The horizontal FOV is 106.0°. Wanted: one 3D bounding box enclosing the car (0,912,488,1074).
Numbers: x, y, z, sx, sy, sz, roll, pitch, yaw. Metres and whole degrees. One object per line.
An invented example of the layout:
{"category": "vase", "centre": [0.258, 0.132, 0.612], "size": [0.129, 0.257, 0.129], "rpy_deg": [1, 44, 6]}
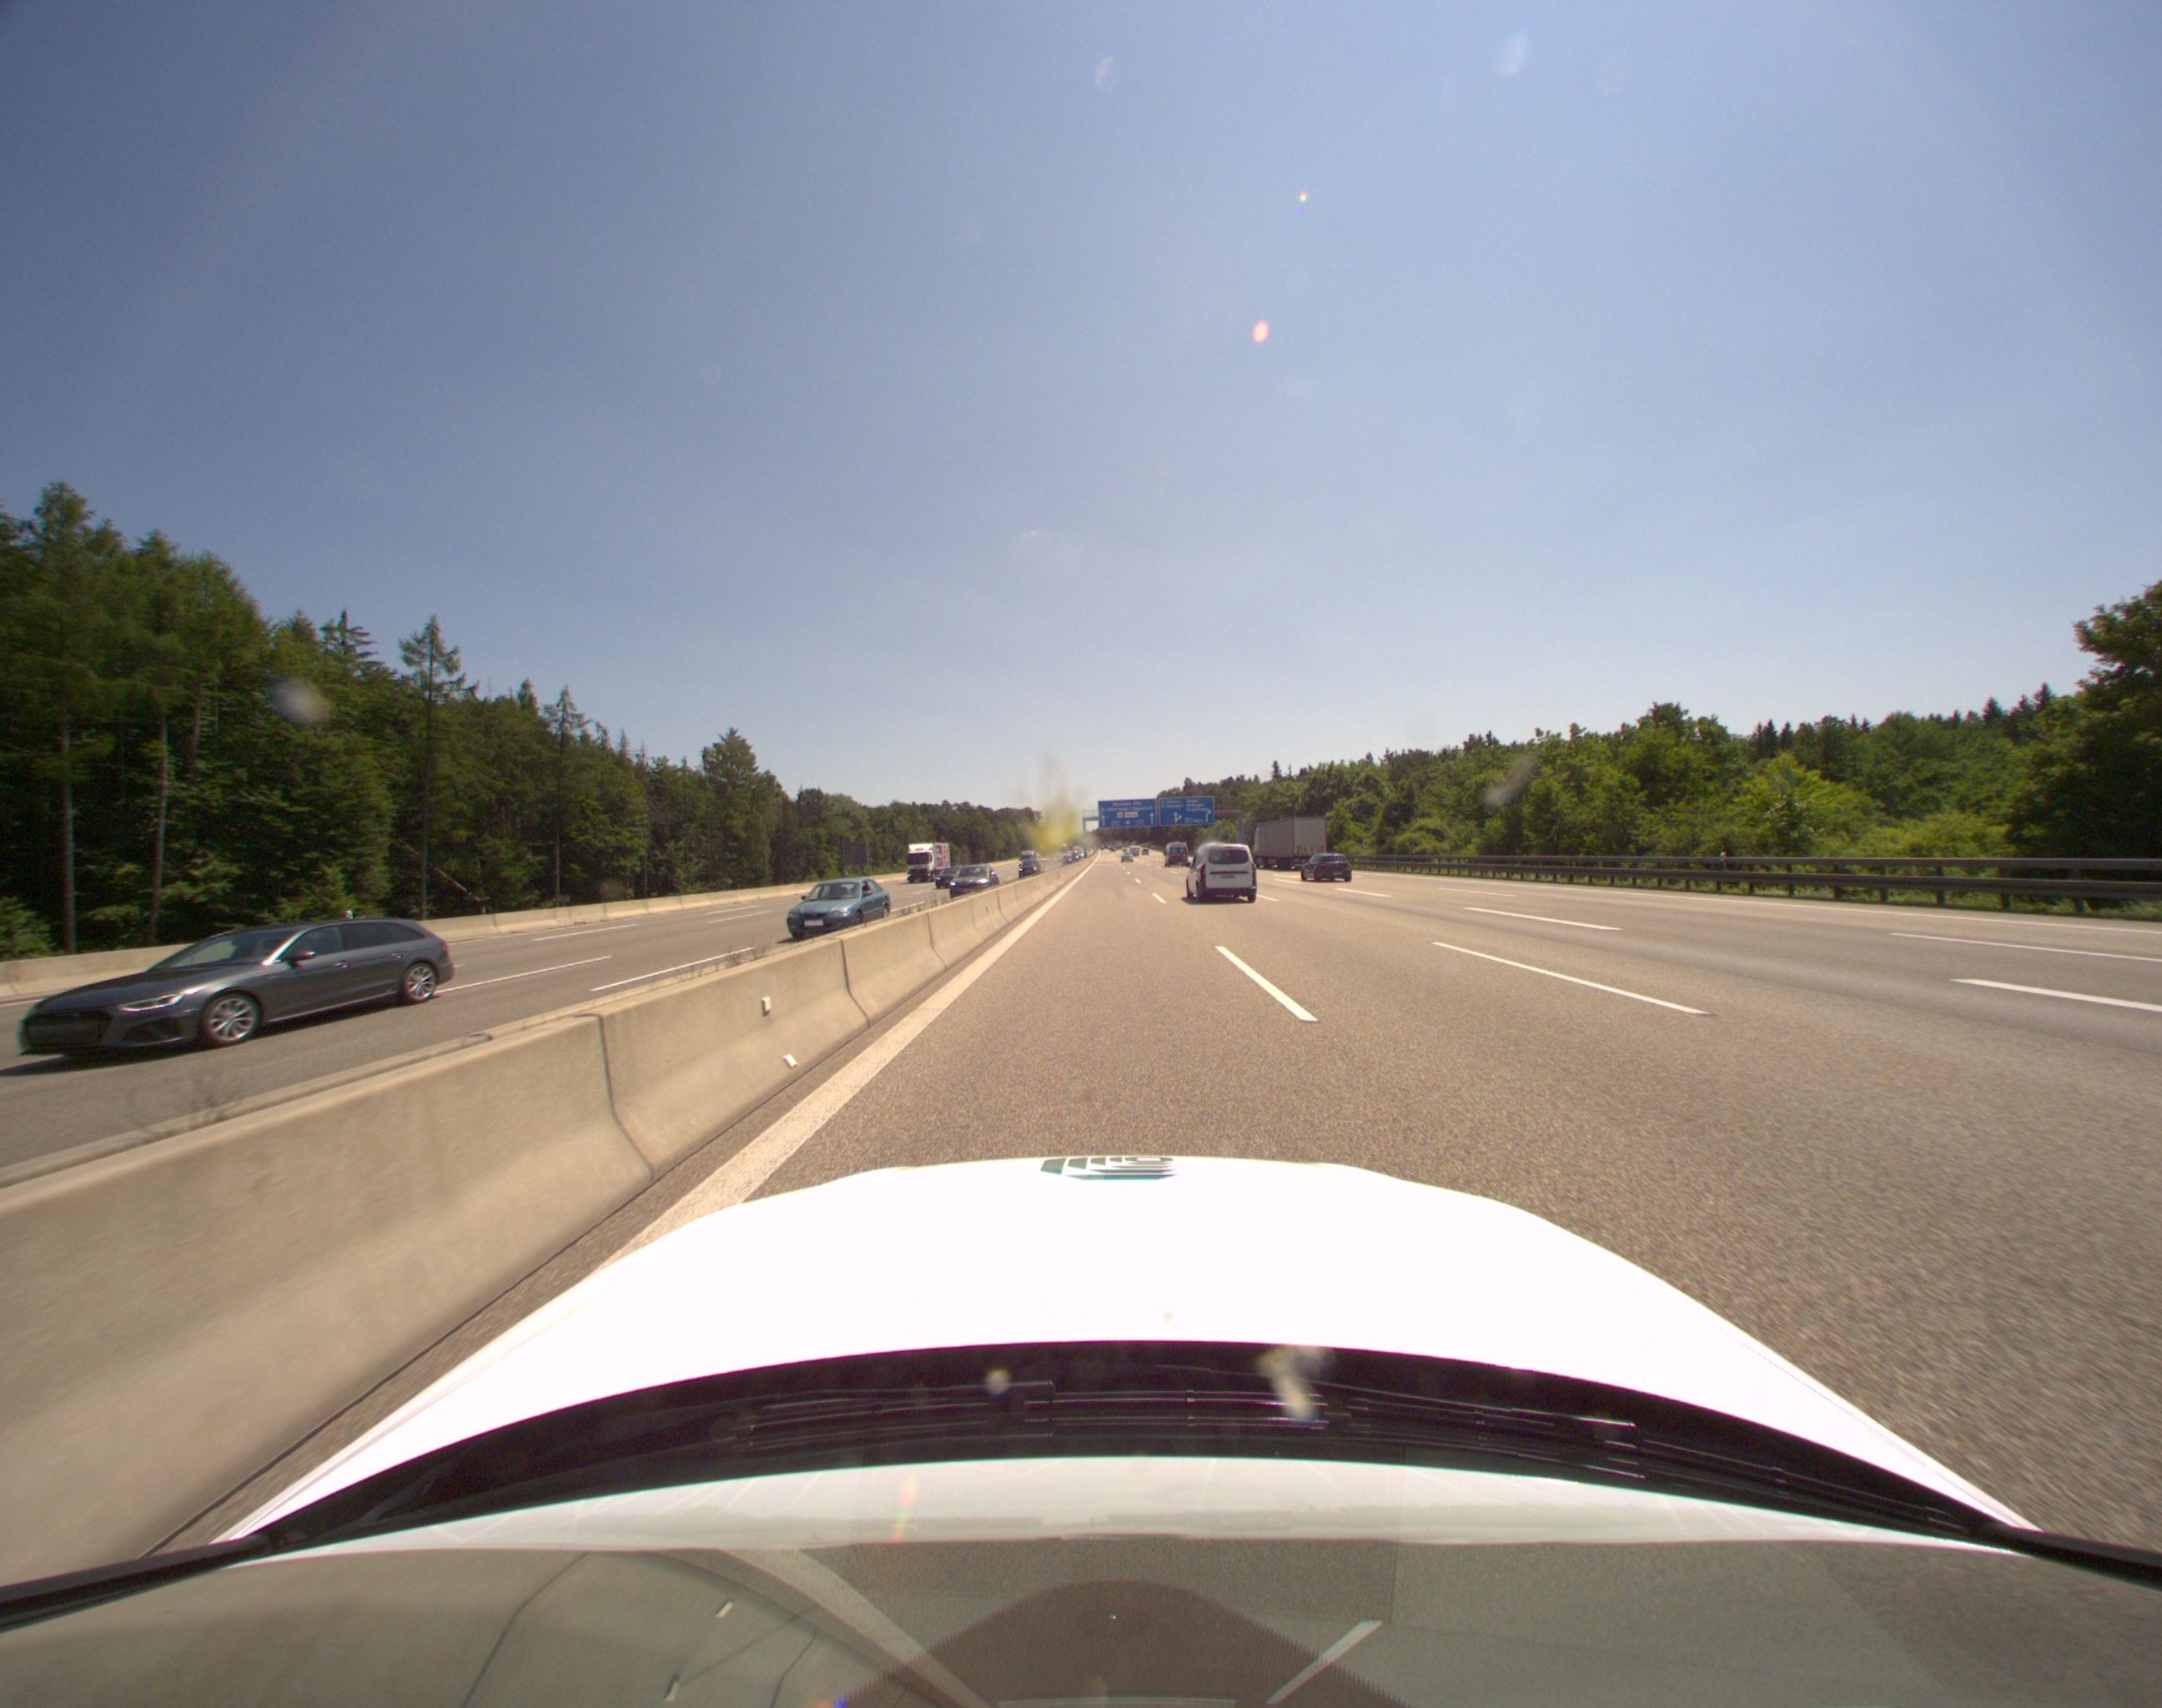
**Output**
{"category": "car", "centre": [-11.254, 1.718, 11.470], "size": [1.915, 1.349, 5.047], "rpy_deg": [-3, 0, 2]}

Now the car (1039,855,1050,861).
{"category": "car", "centre": [-8.357, 0.884, 185.945], "size": [1.985, 1.306, 4.847], "rpy_deg": [-3, 0, 2]}

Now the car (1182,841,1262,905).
{"category": "car", "centre": [4.485, 0.581, 26.583], "size": [1.853, 1.826, 4.614], "rpy_deg": [-3, -1, 2]}

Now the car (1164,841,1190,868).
{"category": "car", "centre": [10.101, 0.043, 86.442], "size": [2.135, 2.652, 5.712], "rpy_deg": [-3, 0, 2]}

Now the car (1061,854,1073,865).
{"category": "car", "centre": [-2.333, 0.944, 135.220], "size": [1.698, 1.662, 3.761], "rpy_deg": [-2, 0, 2]}

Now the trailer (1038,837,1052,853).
{"category": "trailer", "centre": [-10.583, -2.496, 240.317], "size": [2.744, 4.246, 13.723], "rpy_deg": [-3, -1, 2]}

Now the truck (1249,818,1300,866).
{"category": "truck", "centre": [17.450, -1.089, 73.765], "size": [3.242, 4.106, 5.990], "rpy_deg": [-1, 0, 1]}

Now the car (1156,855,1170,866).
{"category": "car", "centre": [12.762, 1.026, 126.934], "size": [1.811, 1.640, 4.002], "rpy_deg": [-3, 0, 2]}

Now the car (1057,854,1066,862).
{"category": "car", "centre": [-4.208, 0.859, 175.365], "size": [1.672, 1.444, 3.995], "rpy_deg": [-4, 0, 1]}

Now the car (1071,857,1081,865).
{"category": "car", "centre": [-1.044, 1.441, 172.373], "size": [1.863, 1.606, 5.231], "rpy_deg": [-4, 0, 2]}

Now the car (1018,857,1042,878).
{"category": "car", "centre": [-4.425, 1.158, 70.808], "size": [1.608, 1.662, 3.851], "rpy_deg": [-3, 0, 2]}

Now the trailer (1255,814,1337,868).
{"category": "trailer", "centre": [17.329, -1.030, 66.989], "size": [3.276, 3.930, 13.894], "rpy_deg": [-1, 0, 1]}

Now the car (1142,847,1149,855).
{"category": "car", "centre": [17.272, -0.790, 218.044], "size": [1.814, 1.859, 4.002], "rpy_deg": [-3, 0, 1]}

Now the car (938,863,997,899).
{"category": "car", "centre": [-4.819, 1.127, 35.242], "size": [1.746, 1.377, 4.493], "rpy_deg": [-1, 0, 2]}

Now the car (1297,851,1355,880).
{"category": "car", "centre": [12.192, 0.631, 40.809], "size": [1.664, 1.274, 4.291], "rpy_deg": [-4, -2, 2]}

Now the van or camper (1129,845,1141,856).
{"category": "van or camper", "centre": [13.280, -0.756, 202.392], "size": [2.635, 2.539, 6.504], "rpy_deg": [-3, 0, 2]}

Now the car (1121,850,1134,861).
{"category": "car", "centre": [7.177, 0.270, 127.124], "size": [1.836, 1.629, 4.555], "rpy_deg": [-3, -1, 2]}

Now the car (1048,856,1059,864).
{"category": "car", "centre": [-5.292, 1.094, 155.291], "size": [1.672, 1.444, 4.528], "rpy_deg": [-4, 0, 1]}

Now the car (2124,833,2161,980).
{"category": "car", "centre": [11.335, 0.513, 5.926], "size": [1.637, 1.438, 4.636], "rpy_deg": [-1, 0, 1]}

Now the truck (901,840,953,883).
{"category": "truck", "centre": [-15.266, 0.741, 81.419], "size": [2.709, 3.939, 10.239], "rpy_deg": [-3, -1, 2]}

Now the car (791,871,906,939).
{"category": "car", "centre": [-6.261, 1.320, 22.449], "size": [1.711, 1.512, 4.353], "rpy_deg": [-3, 0, 2]}

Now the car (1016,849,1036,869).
{"category": "car", "centre": [-7.590, 0.702, 113.787], "size": [1.923, 2.607, 7.233], "rpy_deg": [-3, 0, 2]}

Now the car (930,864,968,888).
{"category": "car", "centre": [-9.200, 1.497, 56.965], "size": [1.711, 1.449, 4.909], "rpy_deg": [-3, 0, 1]}

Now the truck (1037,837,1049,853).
{"category": "truck", "centre": [-10.777, -2.527, 233.420], "size": [2.750, 4.220, 6.380], "rpy_deg": [-3, -1, 2]}
